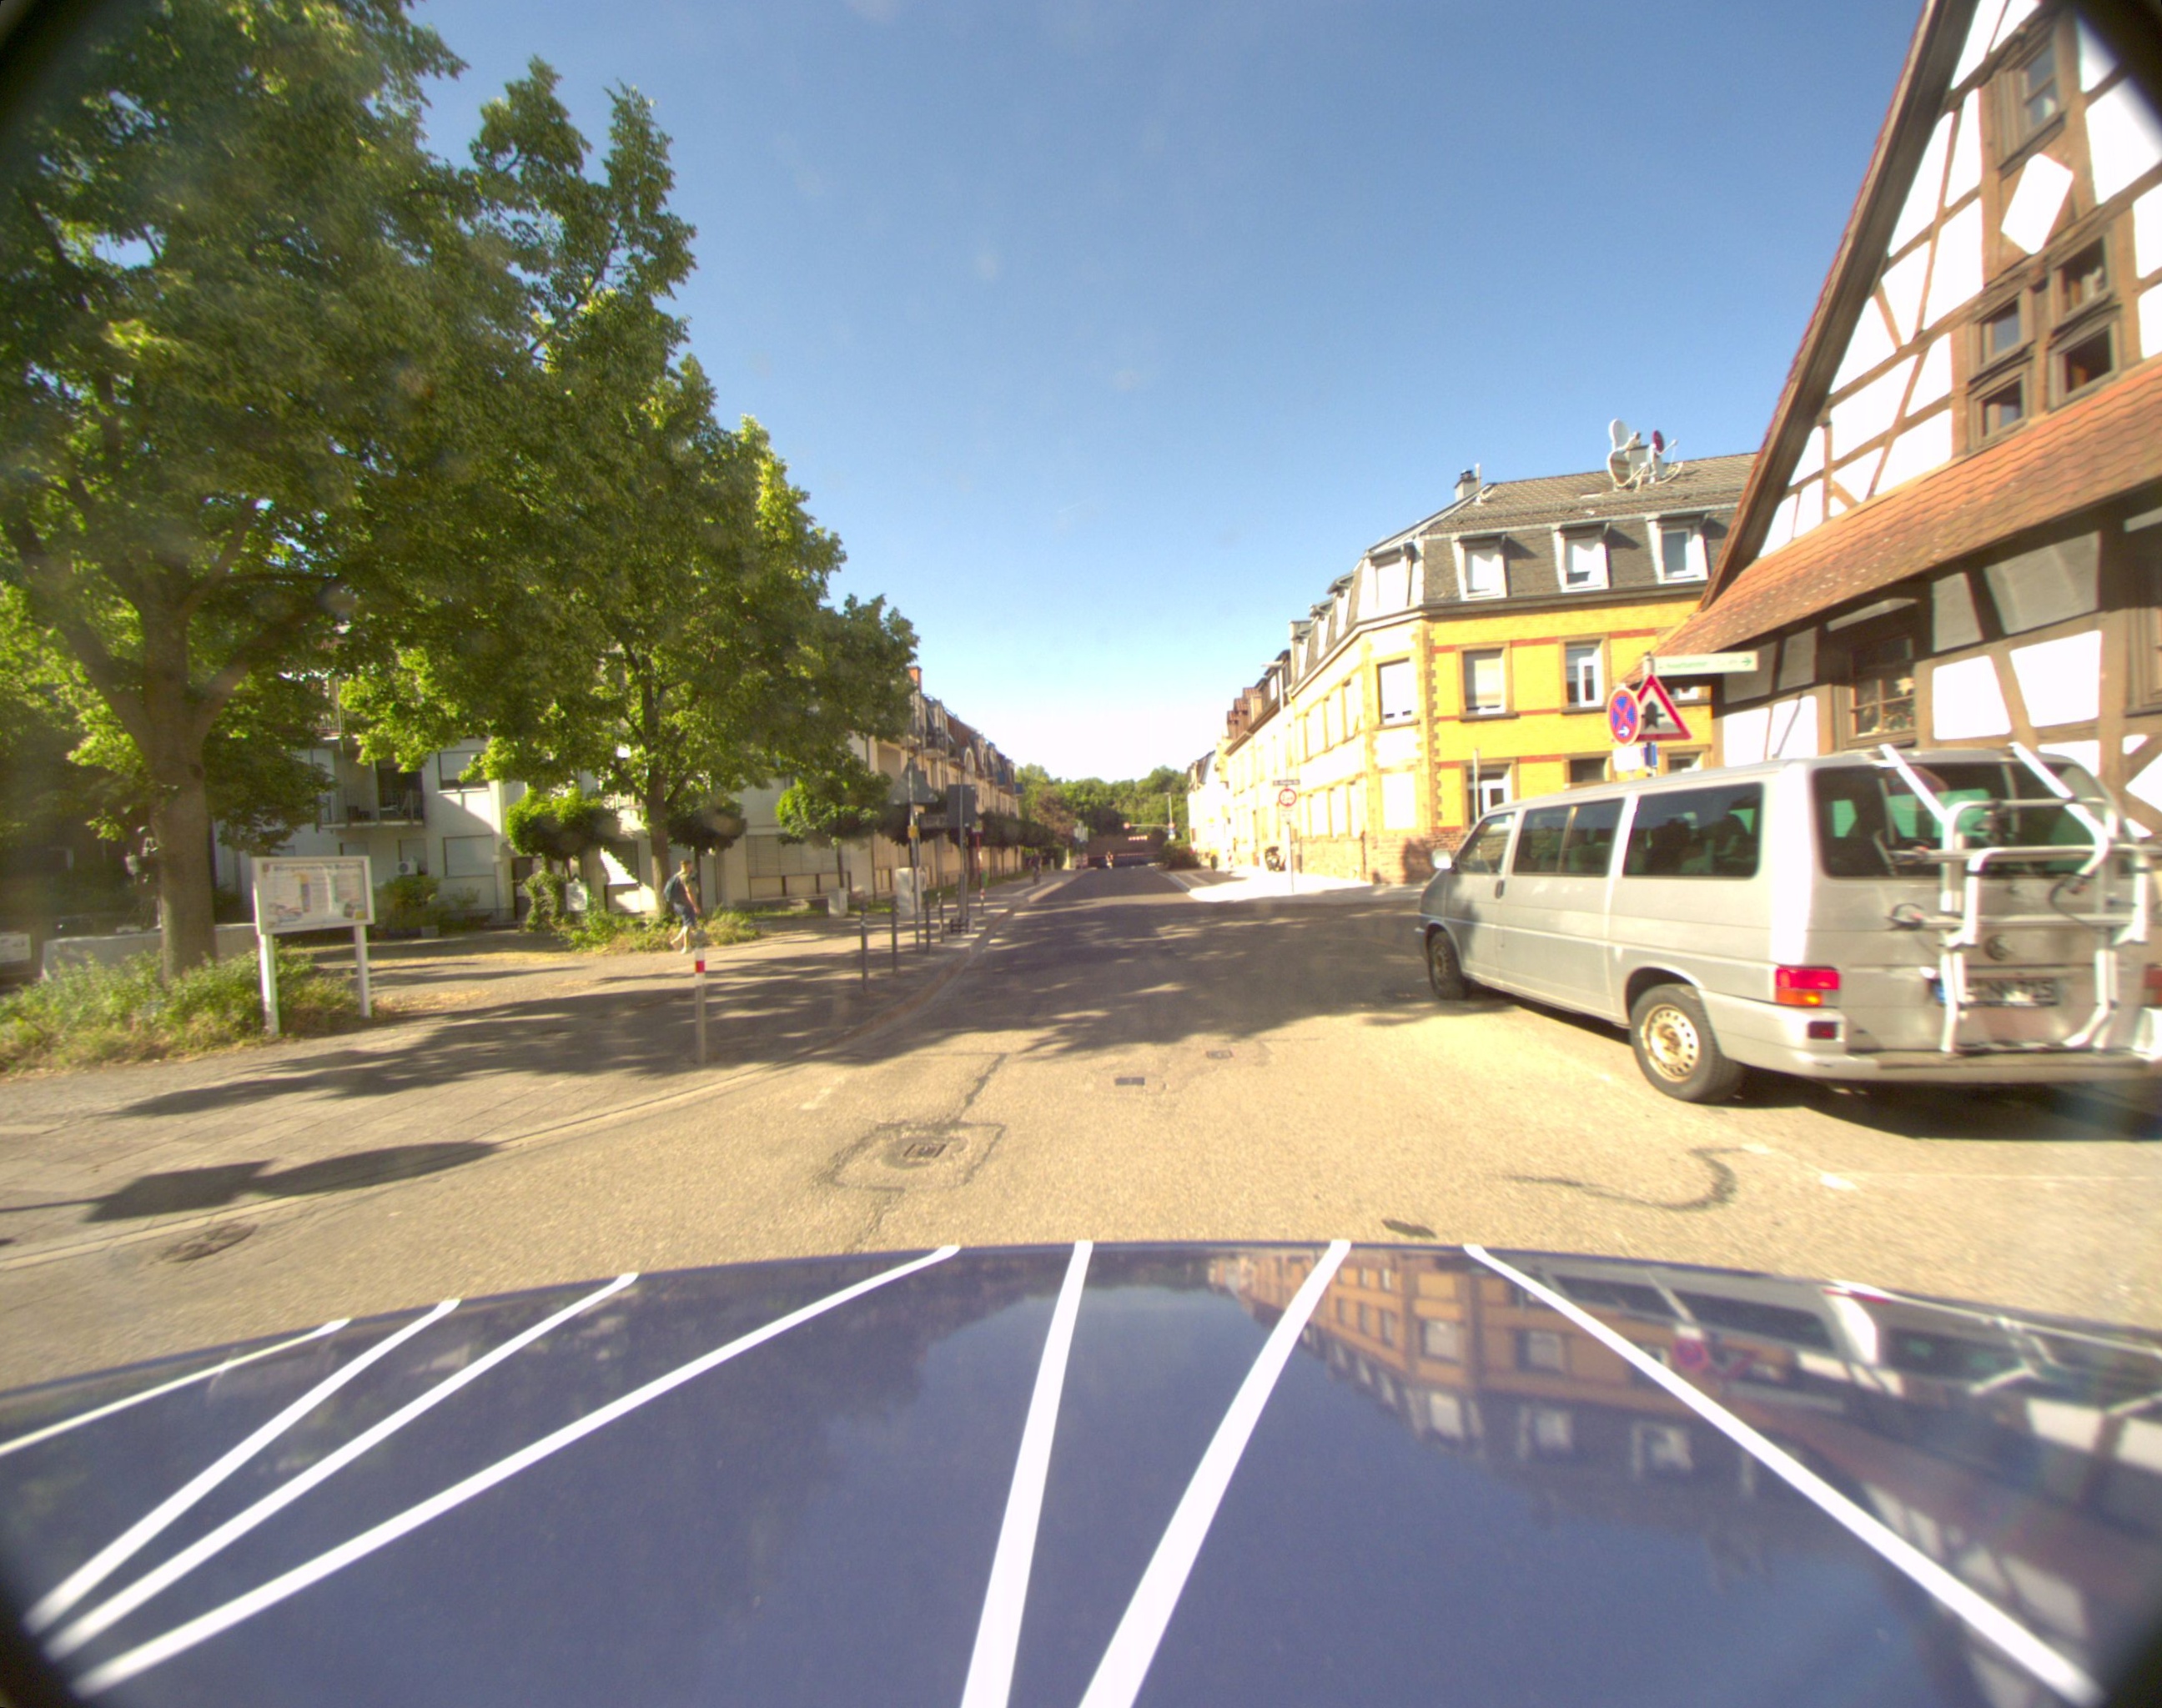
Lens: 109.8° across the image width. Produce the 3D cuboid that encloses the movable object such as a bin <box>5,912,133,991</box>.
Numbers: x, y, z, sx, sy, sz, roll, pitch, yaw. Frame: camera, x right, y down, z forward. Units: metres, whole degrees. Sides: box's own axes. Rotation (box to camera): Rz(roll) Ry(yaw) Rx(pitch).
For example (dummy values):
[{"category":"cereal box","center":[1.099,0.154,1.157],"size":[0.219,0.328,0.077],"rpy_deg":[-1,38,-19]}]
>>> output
[{"category":"movable object such as a bin","center":[-18.636,1.777,14.019],"size":[0.970,1.248,1.016],"rpy_deg":[-5,1,13]}]

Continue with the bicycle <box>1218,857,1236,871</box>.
[{"category":"bicycle","center":[7.679,0.535,39.998],"size":[0.383,0.606,1.344],"rpy_deg":[-5,1,34]}]

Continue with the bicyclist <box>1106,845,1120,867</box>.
[{"category":"bicyclist","center":[3.458,0.215,82.453],"size":[1.256,2.295,1.242],"rpy_deg":[-6,1,2]}]

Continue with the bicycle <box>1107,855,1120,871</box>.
[{"category":"bicycle","center":[3.525,0.940,82.395],"size":[1.256,1.543,4.000],"rpy_deg":[-6,1,3]}]

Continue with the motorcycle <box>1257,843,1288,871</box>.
[{"category":"motorcycle","center":[9.397,0.111,37.321],"size":[0.848,1.245,2.257],"rpy_deg":[-6,1,0]}]

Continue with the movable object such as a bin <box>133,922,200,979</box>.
[{"category":"movable object such as a bin","center":[-19.218,2.021,15.978],"size":[0.708,1.086,0.560],"rpy_deg":[-5,1,13]}]

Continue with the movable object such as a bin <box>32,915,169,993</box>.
[{"category":"movable object such as a bin","center":[-18.876,1.895,14.668],"size":[1.030,1.248,1.131],"rpy_deg":[-6,1,-11]}]

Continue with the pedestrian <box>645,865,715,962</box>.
[{"category":"pedestrian","center":[-7.524,1.091,14.278],"size":[0.659,1.707,0.829],"rpy_deg":[-2,2,34]}]

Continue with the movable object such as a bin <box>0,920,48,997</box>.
[{"category":"movable object such as a bin","center":[-18.867,1.851,12.995],"size":[0.970,1.248,1.016],"rpy_deg":[-5,1,13]}]

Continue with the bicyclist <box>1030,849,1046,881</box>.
[{"category":"bicyclist","center":[-2.126,0.546,37.731],"size":[0.668,1.530,0.914],"rpy_deg":[0,2,7]}]

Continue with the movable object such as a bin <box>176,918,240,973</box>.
[{"category":"movable object such as a bin","center":[-19.102,2.000,16.633],"size":[0.708,1.086,0.560],"rpy_deg":[-5,1,13]}]

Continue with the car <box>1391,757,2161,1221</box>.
[{"category":"car","center":[4.158,0.510,5.522],"size":[1.880,1.870,4.835],"rpy_deg":[-2,1,1]}]

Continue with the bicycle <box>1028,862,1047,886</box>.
[{"category":"bicycle","center":[-2.142,0.981,37.686],"size":[0.668,1.058,1.817],"rpy_deg":[0,2,7]}]
